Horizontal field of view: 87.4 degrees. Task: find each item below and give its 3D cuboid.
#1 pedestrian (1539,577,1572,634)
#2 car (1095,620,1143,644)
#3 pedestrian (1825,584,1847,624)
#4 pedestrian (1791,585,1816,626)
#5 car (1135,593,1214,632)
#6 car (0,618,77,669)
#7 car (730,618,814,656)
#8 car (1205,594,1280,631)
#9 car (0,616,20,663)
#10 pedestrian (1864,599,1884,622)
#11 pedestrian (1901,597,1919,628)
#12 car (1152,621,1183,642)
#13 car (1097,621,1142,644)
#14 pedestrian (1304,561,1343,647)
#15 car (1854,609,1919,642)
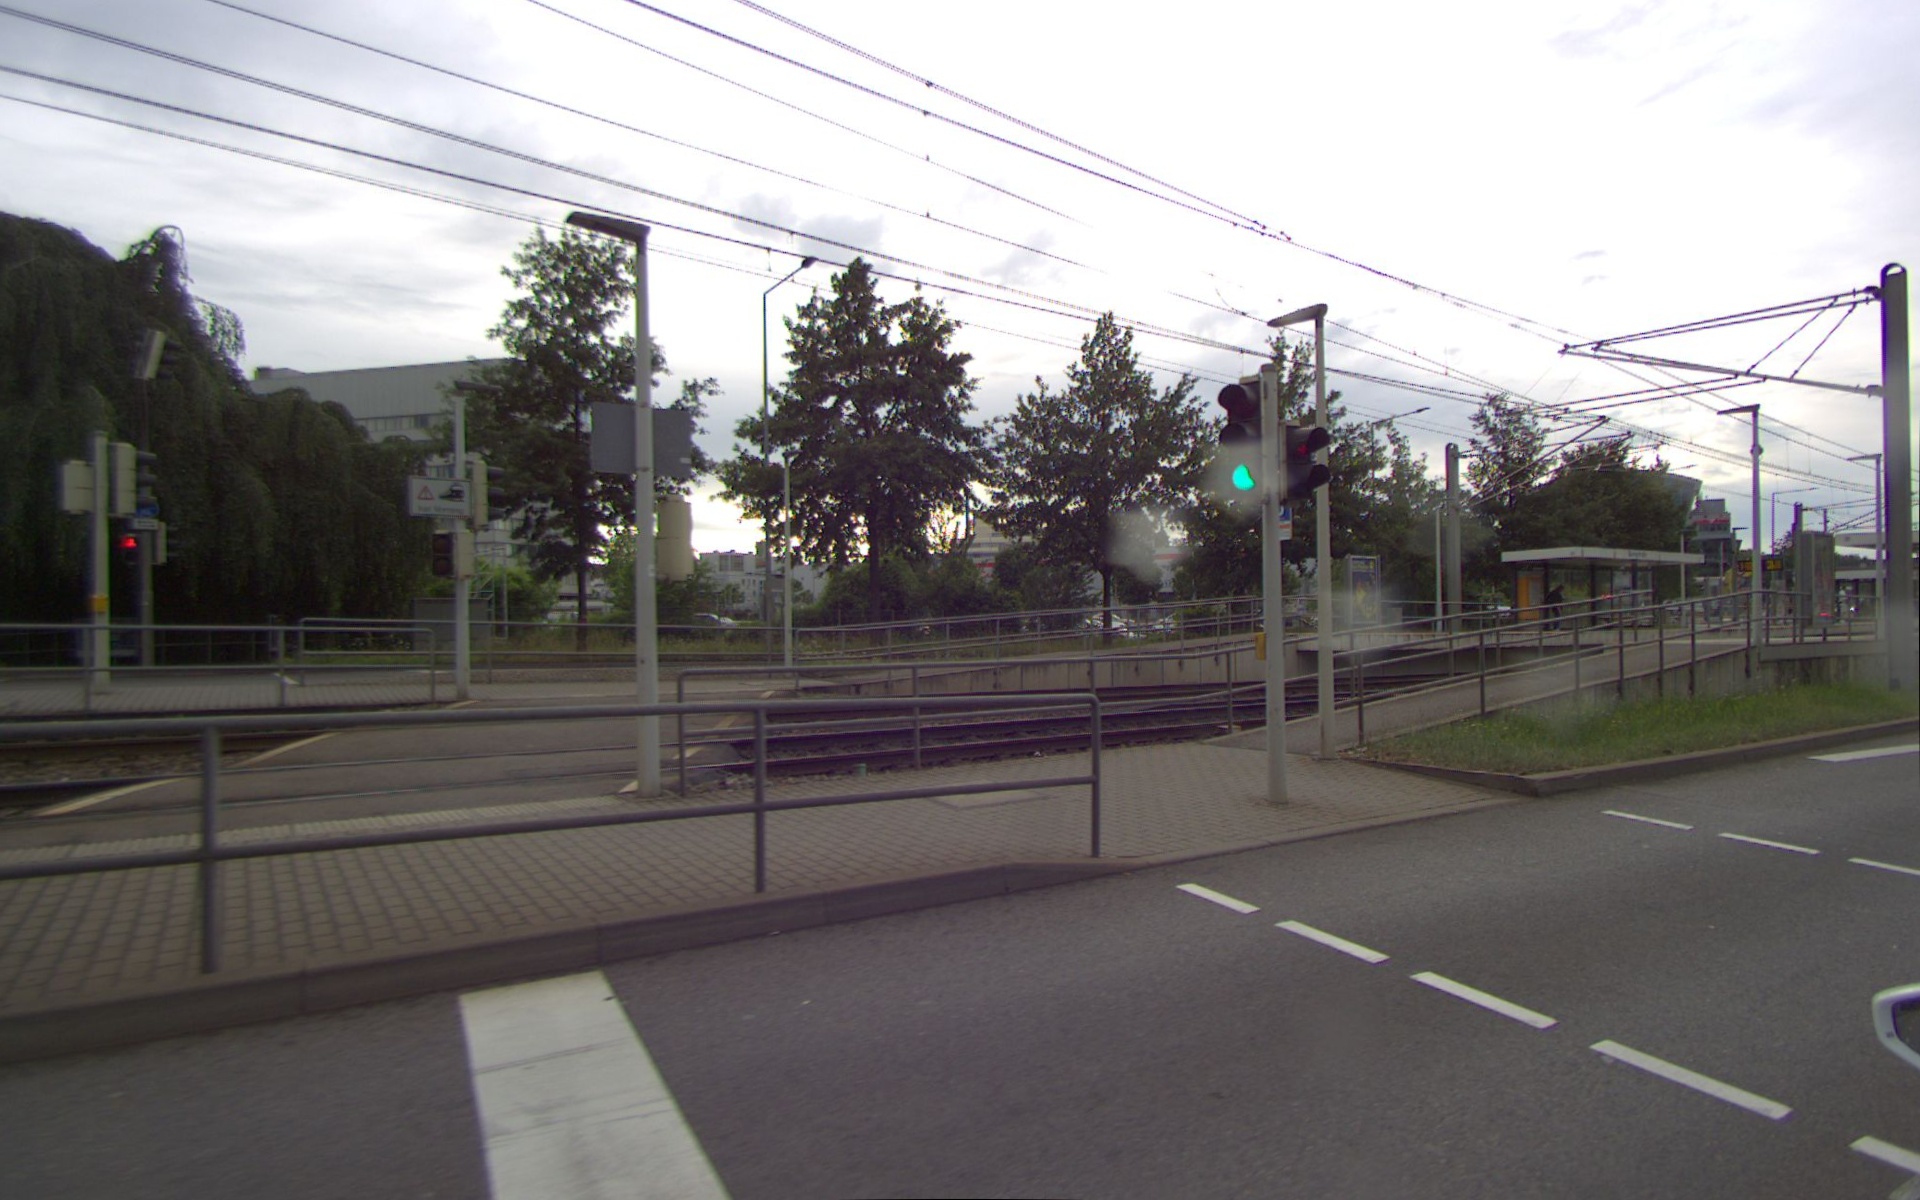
[{"bbox_3d":[20.008,0.179,33.742,0.743,1.878,0.633,4,-1,-35],"label":"pedestrian"},{"bbox_3d":[14.995,3.019,94.557,3.933,2.040,1.994,3,-1,-14],"label":"car"},{"bbox_3d":[47.153,0.224,54.065,0.706,2.108,0.685,0,0,-29],"label":"pedestrian"},{"bbox_3d":[43.191,0.299,51.429,1.034,2.040,0.846,4,-2,-44],"label":"pedestrian"},{"bbox_3d":[11.601,0.644,54.398,3.955,2.041,1.983,-1,1,-32],"label":"car"},{"bbox_3d":[-30.473,1.329,31.345,1.723,1.514,4.000,2,-2,22],"label":"car"},{"bbox_3d":[-8.023,1.589,43.220,1.960,1.433,4.003,3,-2,15],"label":"car"},{"bbox_3d":[16.095,0.655,57.145,3.955,2.041,1.983,0,1,-32],"label":"car"},{"bbox_3d":[-32.903,1.216,31.924,1.723,1.514,4.000,2,-2,22],"label":"car"},{"bbox_3d":[52.702,0.601,57.914,0.724,1.269,0.722,2,-1,-36],"label":"pedestrian"},{"bbox_3d":[55.915,0.746,59.010,0.756,1.774,0.748,4,-1,-34],"label":"pedestrian"},{"bbox_3d":[21.162,3.201,102.475,1.962,2.040,3.998,3,-1,-5],"label":"car"},{"bbox_3d":[15.699,3.188,98.893,3.933,2.040,1.994,3,-1,-14],"label":"car"},{"bbox_3d":[8.576,0.088,23.710,0.658,1.978,0.544,4,-2,-38],"label":"pedestrian"},{"bbox_3d":[41.631,1.094,44.845,3.300,1.354,1.847,-1,1,-35],"label":"car"}]
